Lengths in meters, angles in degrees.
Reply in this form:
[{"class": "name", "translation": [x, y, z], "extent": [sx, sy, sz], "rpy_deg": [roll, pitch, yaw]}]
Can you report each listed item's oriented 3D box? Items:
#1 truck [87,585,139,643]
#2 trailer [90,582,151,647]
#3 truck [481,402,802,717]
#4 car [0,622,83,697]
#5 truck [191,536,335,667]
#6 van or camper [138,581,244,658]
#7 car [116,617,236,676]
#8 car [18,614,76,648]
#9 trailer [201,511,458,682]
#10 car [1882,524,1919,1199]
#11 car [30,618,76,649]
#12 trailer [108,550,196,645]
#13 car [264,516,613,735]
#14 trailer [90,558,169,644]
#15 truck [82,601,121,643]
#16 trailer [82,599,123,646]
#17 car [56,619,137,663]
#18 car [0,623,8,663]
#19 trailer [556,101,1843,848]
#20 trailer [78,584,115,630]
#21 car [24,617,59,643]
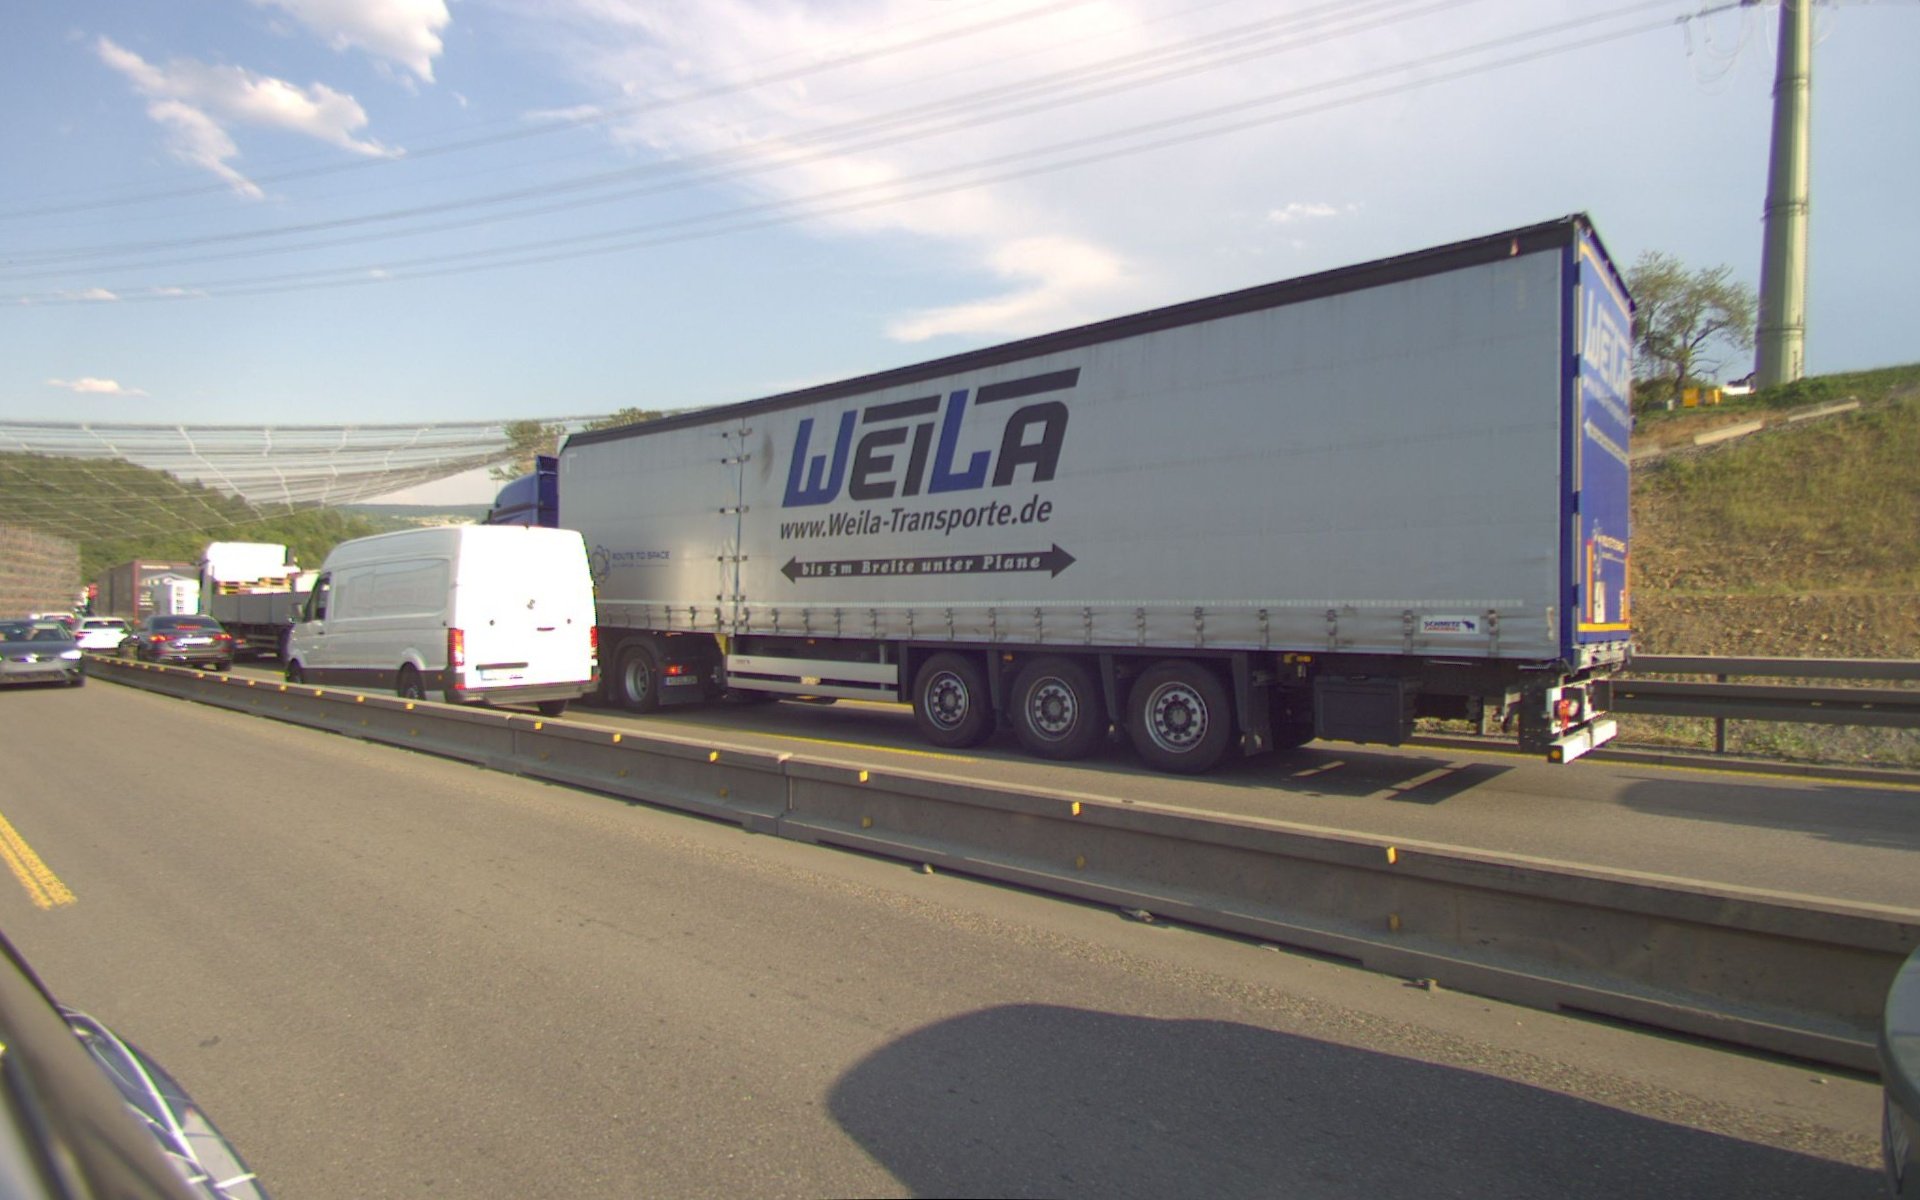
[{"class": "truck", "translation": [-57.803, 0.960, 69.019], "extent": [2.403, 3.813, 5.623], "rpy_deg": [1, -1, -43]}, {"class": "trailer", "translation": [-53.731, 0.954, 64.639], "extent": [2.279, 3.819, 12.064], "rpy_deg": [1, -1, -43]}, {"class": "truck", "translation": [-5.219, -0.489, 16.027], "extent": [5.667, 4.096, 2.475], "rpy_deg": [-1, -1, 44]}, {"class": "car", "translation": [-19.355, 1.166, 20.793], "extent": [3.824, 1.394, 1.740], "rpy_deg": [-1, -1, 45]}, {"class": "truck", "translation": [-22.385, 0.101, 32.373], "extent": [6.519, 3.782, 2.572], "rpy_deg": [-1, -1, 44]}, {"class": "van or camper", "translation": [-31.792, 0.798, 41.690], "extent": [7.620, 2.913, 2.381], "rpy_deg": [-1, -1, 44]}, {"class": "car", "translation": [-20.319, 1.141, 26.151], "extent": [4.768, 1.388, 1.740], "rpy_deg": [-1, -1, 43]}, {"class": "car", "translation": [-44.023, 1.460, 48.768], "extent": [4.587, 1.523, 1.773], "rpy_deg": [-1, -1, 44]}, {"class": "trailer", "translation": [-17.882, 0.013, 27.914], "extent": [13.978, 3.753, 2.492], "rpy_deg": [-1, -1, 43]}, {"class": "car", "translation": [3.336, 0.589, 0.358], "extent": [4.350, 1.484, 1.738], "rpy_deg": [-1, -1, 40]}, {"class": "car", "translation": [-52.178, 1.890, 58.191], "extent": [1.736, 1.708, 4.456], "rpy_deg": [1, -1, -45]}, {"class": "trailer", "translation": [-39.037, -0.060, 48.765], "extent": [2.415, 4.220, 8.549], "rpy_deg": [1, -1, -45]}, {"class": "car", "translation": [-7.766, 0.337, 14.620], "extent": [6.770, 2.519, 2.036], "rpy_deg": [-1, -1, 40]}, {"class": "trailer", "translation": [-45.728, 0.120, 55.580], "extent": [2.447, 4.361, 10.518], "rpy_deg": [1, -1, -44]}, {"class": "truck", "translation": [-70.999, 1.788, 83.690], "extent": [2.384, 3.396, 5.625], "rpy_deg": [0, -1, -41]}, {"class": "trailer", "translation": [-67.270, 1.725, 79.306], "extent": [2.278, 3.387, 12.070], "rpy_deg": [0, -1, -41]}, {"class": "car", "translation": [-31.428, 1.446, 36.797], "extent": [4.254, 1.519, 1.740], "rpy_deg": [-1, -1, 43]}, {"class": "car", "translation": [-35.844, 1.563, 36.851], "extent": [1.651, 1.394, 3.826], "rpy_deg": [0, -1, -43]}, {"class": "trailer", "translation": [0.131, -0.609, 11.315], "extent": [14.594, 4.162, 2.283], "rpy_deg": [-1, -1, 41]}, {"class": "trailer", "translation": [-80.004, 0.734, 93.755], "extent": [2.397, 3.993, 14.119], "rpy_deg": [0, -1, -41]}, {"class": "car", "translation": [-69.818, 2.248, 76.921], "extent": [1.796, 1.940, 4.839], "rpy_deg": [1, -1, -44]}]
